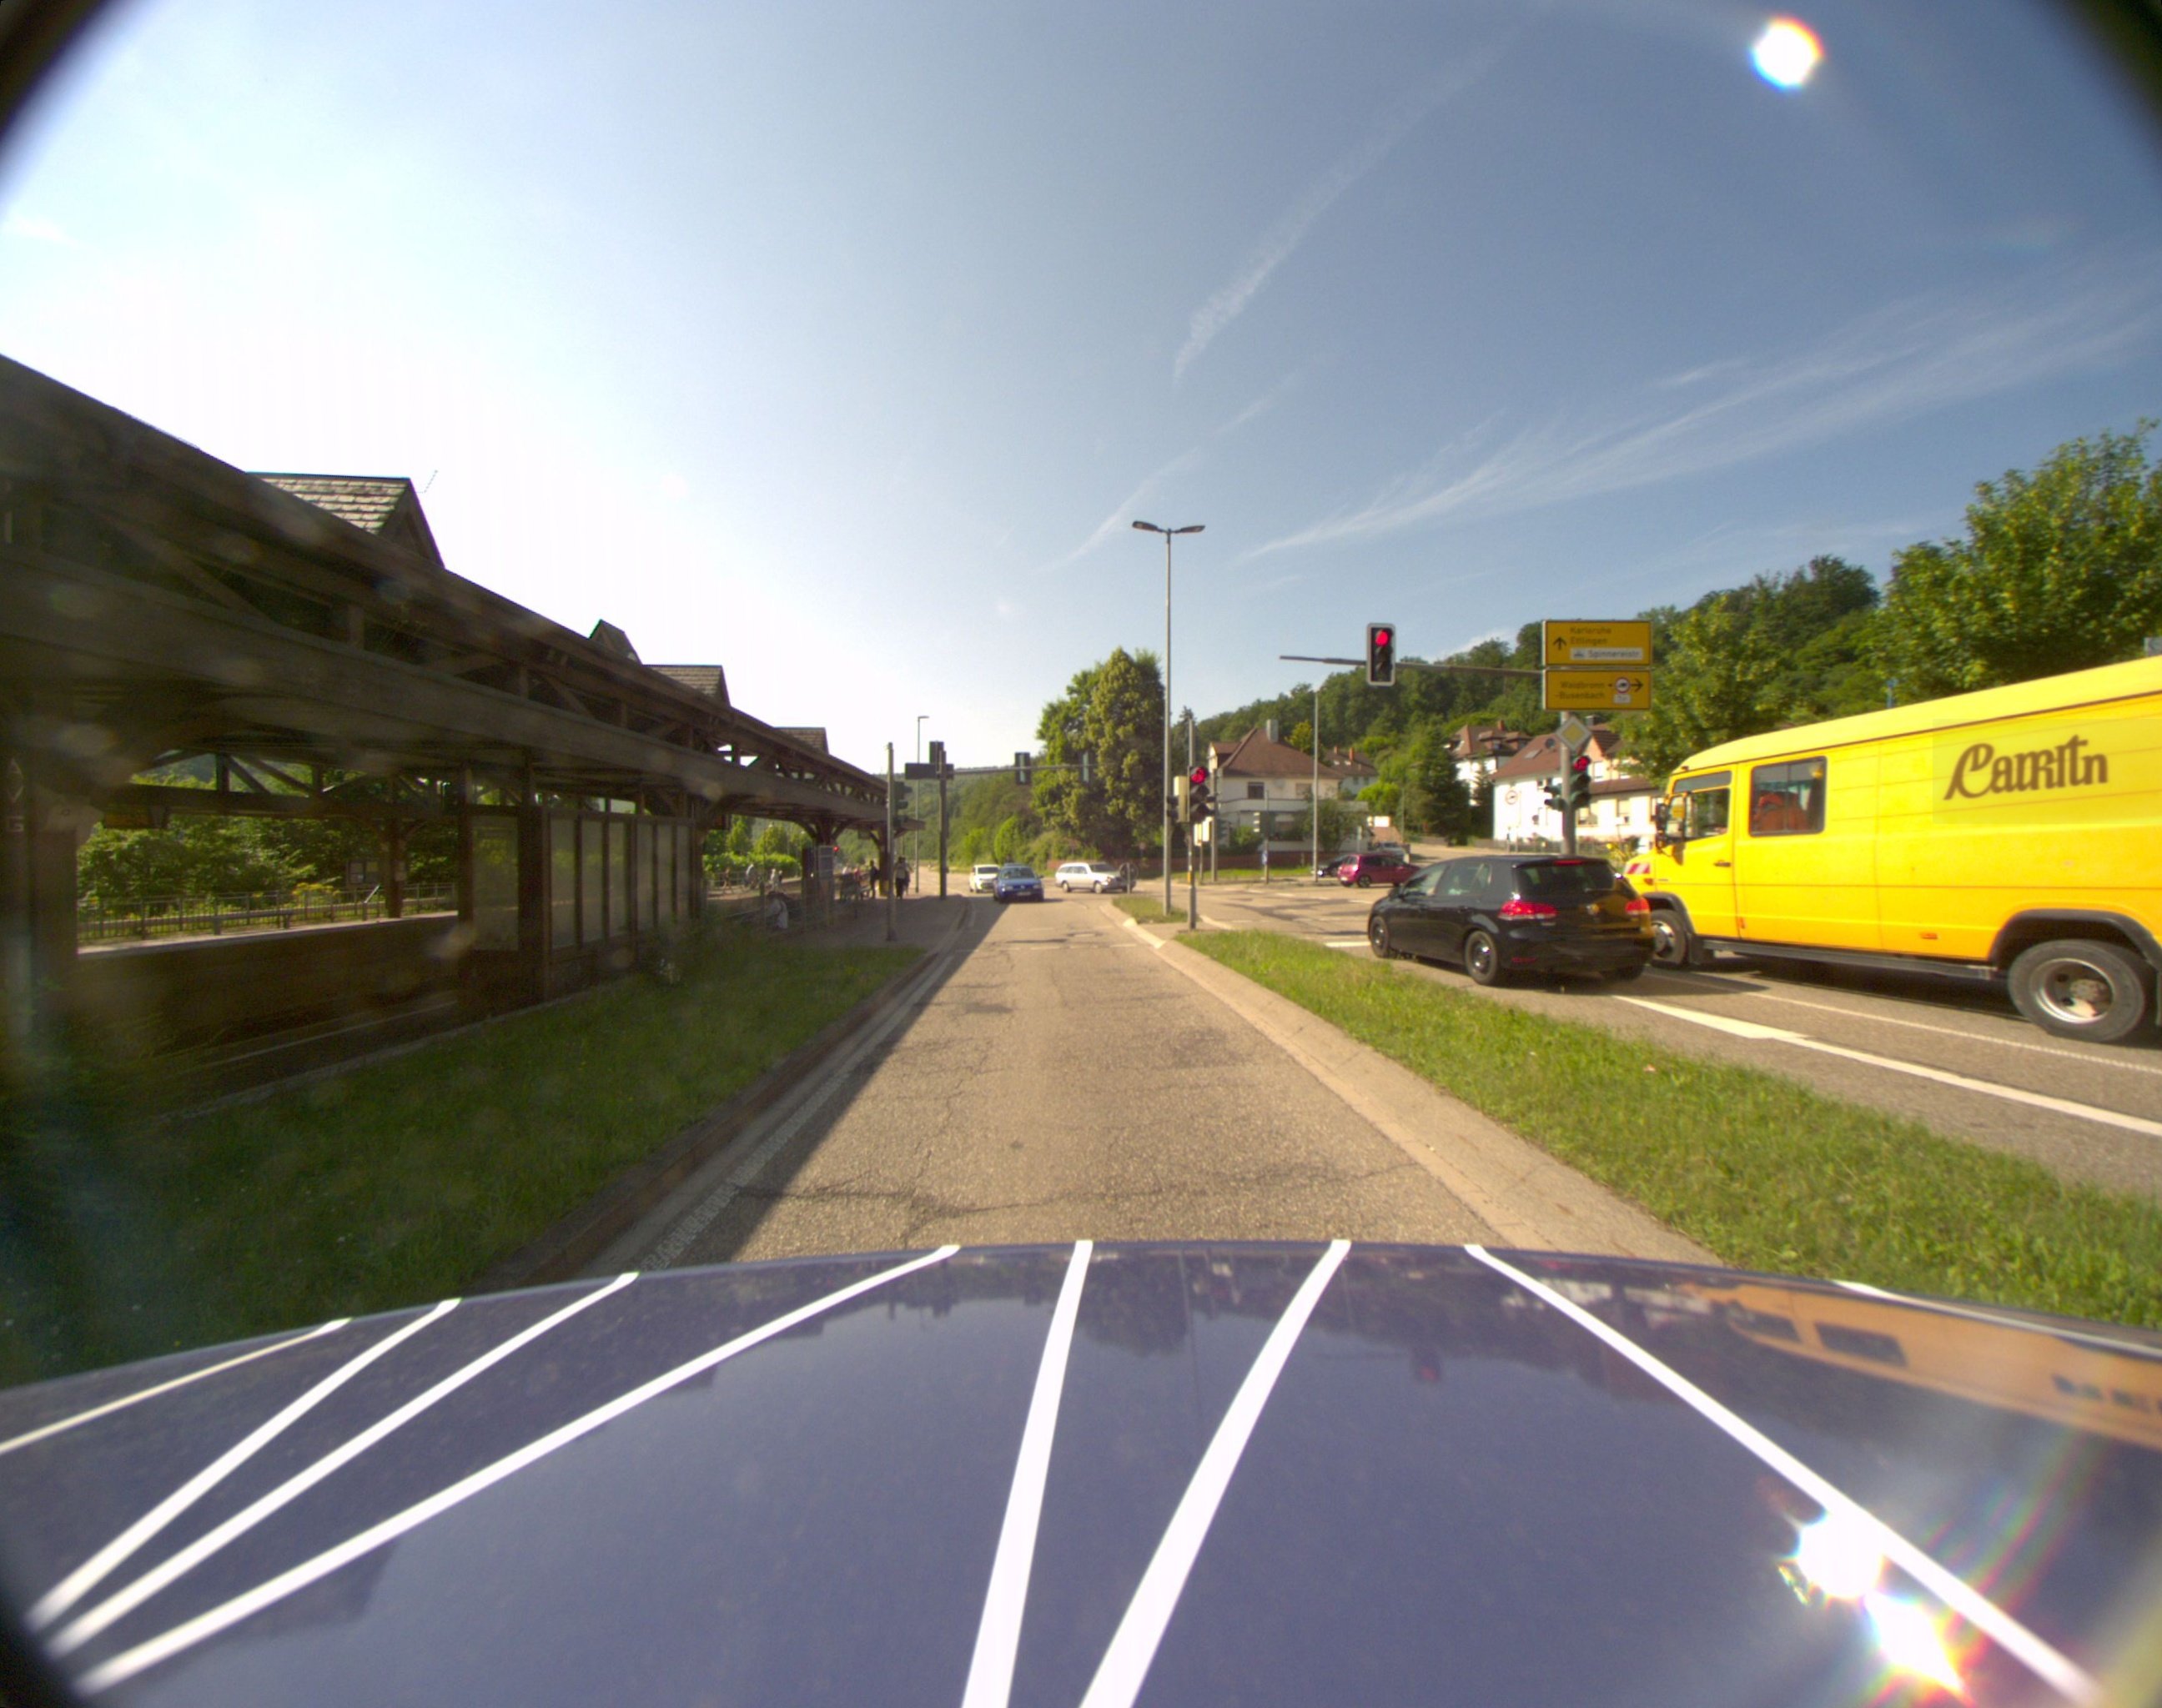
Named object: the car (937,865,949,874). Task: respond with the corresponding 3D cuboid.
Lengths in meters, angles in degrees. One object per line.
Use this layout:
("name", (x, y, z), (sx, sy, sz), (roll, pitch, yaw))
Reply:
("car", (-27.196, 3.047, 149.834), (2.000, 1.739, 3.998), (-3, -1, -9))

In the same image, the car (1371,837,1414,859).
("car", (25.825, -0.483, 63.141), (1.939, 1.627, 4.001), (-3, -1, 2))

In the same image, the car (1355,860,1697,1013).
("car", (5.107, 0.820, 9.473), (1.750, 1.454, 4.042), (-1, 0, -3))

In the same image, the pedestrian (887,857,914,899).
("pedestrian", (-7.724, 1.035, 32.554), (0.916, 1.726, 1.251), (-3, -1, -6))

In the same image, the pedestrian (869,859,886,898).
("pedestrian", (-8.885, 1.057, 33.139), (0.659, 1.682, 0.738), (-1, 0, -13))

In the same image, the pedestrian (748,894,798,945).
("pedestrian", (-6.422, 1.360, 15.898), (0.744, 0.976, 0.769), (-3, -1, -7))

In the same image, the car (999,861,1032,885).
("car", (-4.657, 1.304, 53.373), (1.981, 1.495, 3.983), (-1, 0, -9))

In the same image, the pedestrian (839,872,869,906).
("pedestrian", (-8.728, 1.343, 29.260), (0.994, 1.228, 0.596), (-3, -1, -14))

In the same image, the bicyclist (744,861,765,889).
("bicyclist", (-20.576, 1.312, 47.919), (0.820, 1.674, 0.905), (-4, -1, 44))

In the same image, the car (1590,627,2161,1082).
("car", (8.230, -0.042, 6.964), (2.474, 2.993, 6.464), (-3, 0, -3))

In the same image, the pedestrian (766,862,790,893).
("pedestrian", (-18.553, 1.445, 46.542), (0.990, 1.831, 1.073), (-2, -1, 0))

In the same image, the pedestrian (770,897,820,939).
("pedestrian", (-6.461, 1.438, 17.228), (0.847, 0.869, 0.807), (-3, -1, -7))

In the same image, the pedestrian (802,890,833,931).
("pedestrian", (-6.539, 1.409, 18.887), (0.619, 0.960, 0.406), (-3, -1, -7))

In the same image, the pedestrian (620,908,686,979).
("pedestrian", (-7.316, 1.514, 13.022), (0.744, 1.110, 0.667), (-3, -1, -7))

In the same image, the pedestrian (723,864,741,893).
("pedestrian", (-20.825, 1.470, 45.369), (0.905, 1.674, 1.123), (-3, -1, -23))

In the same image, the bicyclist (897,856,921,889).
("bicyclist", (-8.246, 0.883, 36.466), (0.788, 1.559, 0.945), (-3, 1, -31))

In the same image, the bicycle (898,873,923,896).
("bicycle", (-8.193, 1.446, 36.424), (0.605, 1.049, 1.810), (-3, 0, -31))

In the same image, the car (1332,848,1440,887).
("car", (13.103, 0.581, 32.722), (3.954, 1.525, 1.661), (-1, 0, -7))

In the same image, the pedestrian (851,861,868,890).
("pedestrian", (-13.594, 1.324, 46.664), (0.823, 1.674, 0.902), (-3, -1, -24))

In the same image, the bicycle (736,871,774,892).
("bicycle", (-20.543, 1.706, 47.953), (0.708, 1.201, 2.024), (-4, -1, 44))

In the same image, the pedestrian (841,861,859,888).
("pedestrian", (-14.397, 1.273, 47.317), (0.868, 1.674, 0.822), (-3, -1, -7))

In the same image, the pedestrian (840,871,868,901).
("pedestrian", (-9.080, 1.267, 30.447), (1.010, 1.153, 0.947), (-2, 1, -13))

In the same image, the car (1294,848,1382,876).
("car", (15.788, 0.487, 46.695), (4.753, 1.475, 1.978), (-2, -1, -16))

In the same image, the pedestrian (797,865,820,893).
("pedestrian", (-16.663, 1.517, 46.446), (0.902, 1.674, 0.823), (-3, -1, 21))

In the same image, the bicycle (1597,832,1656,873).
("bicycle", (18.299, -0.021, 25.516), (0.620, 1.247, 1.758), (-6, -2, 2))

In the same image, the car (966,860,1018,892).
("car", (-4.888, 1.177, 41.203), (2.001, 1.575, 3.994), (-3, 0, -17))

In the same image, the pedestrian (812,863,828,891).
("pedestrian", (-16.430, 1.451, 47.809), (0.558, 1.674, 0.685), (-3, -1, 21))

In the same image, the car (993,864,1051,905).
("car", (-2.409, 1.145, 30.124), (1.866, 1.474, 4.298), (-1, 0, -10))

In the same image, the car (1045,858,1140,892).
("car", (0.465, 1.031, 36.714), (1.984, 1.495, 4.739), (-2, -1, -39))
